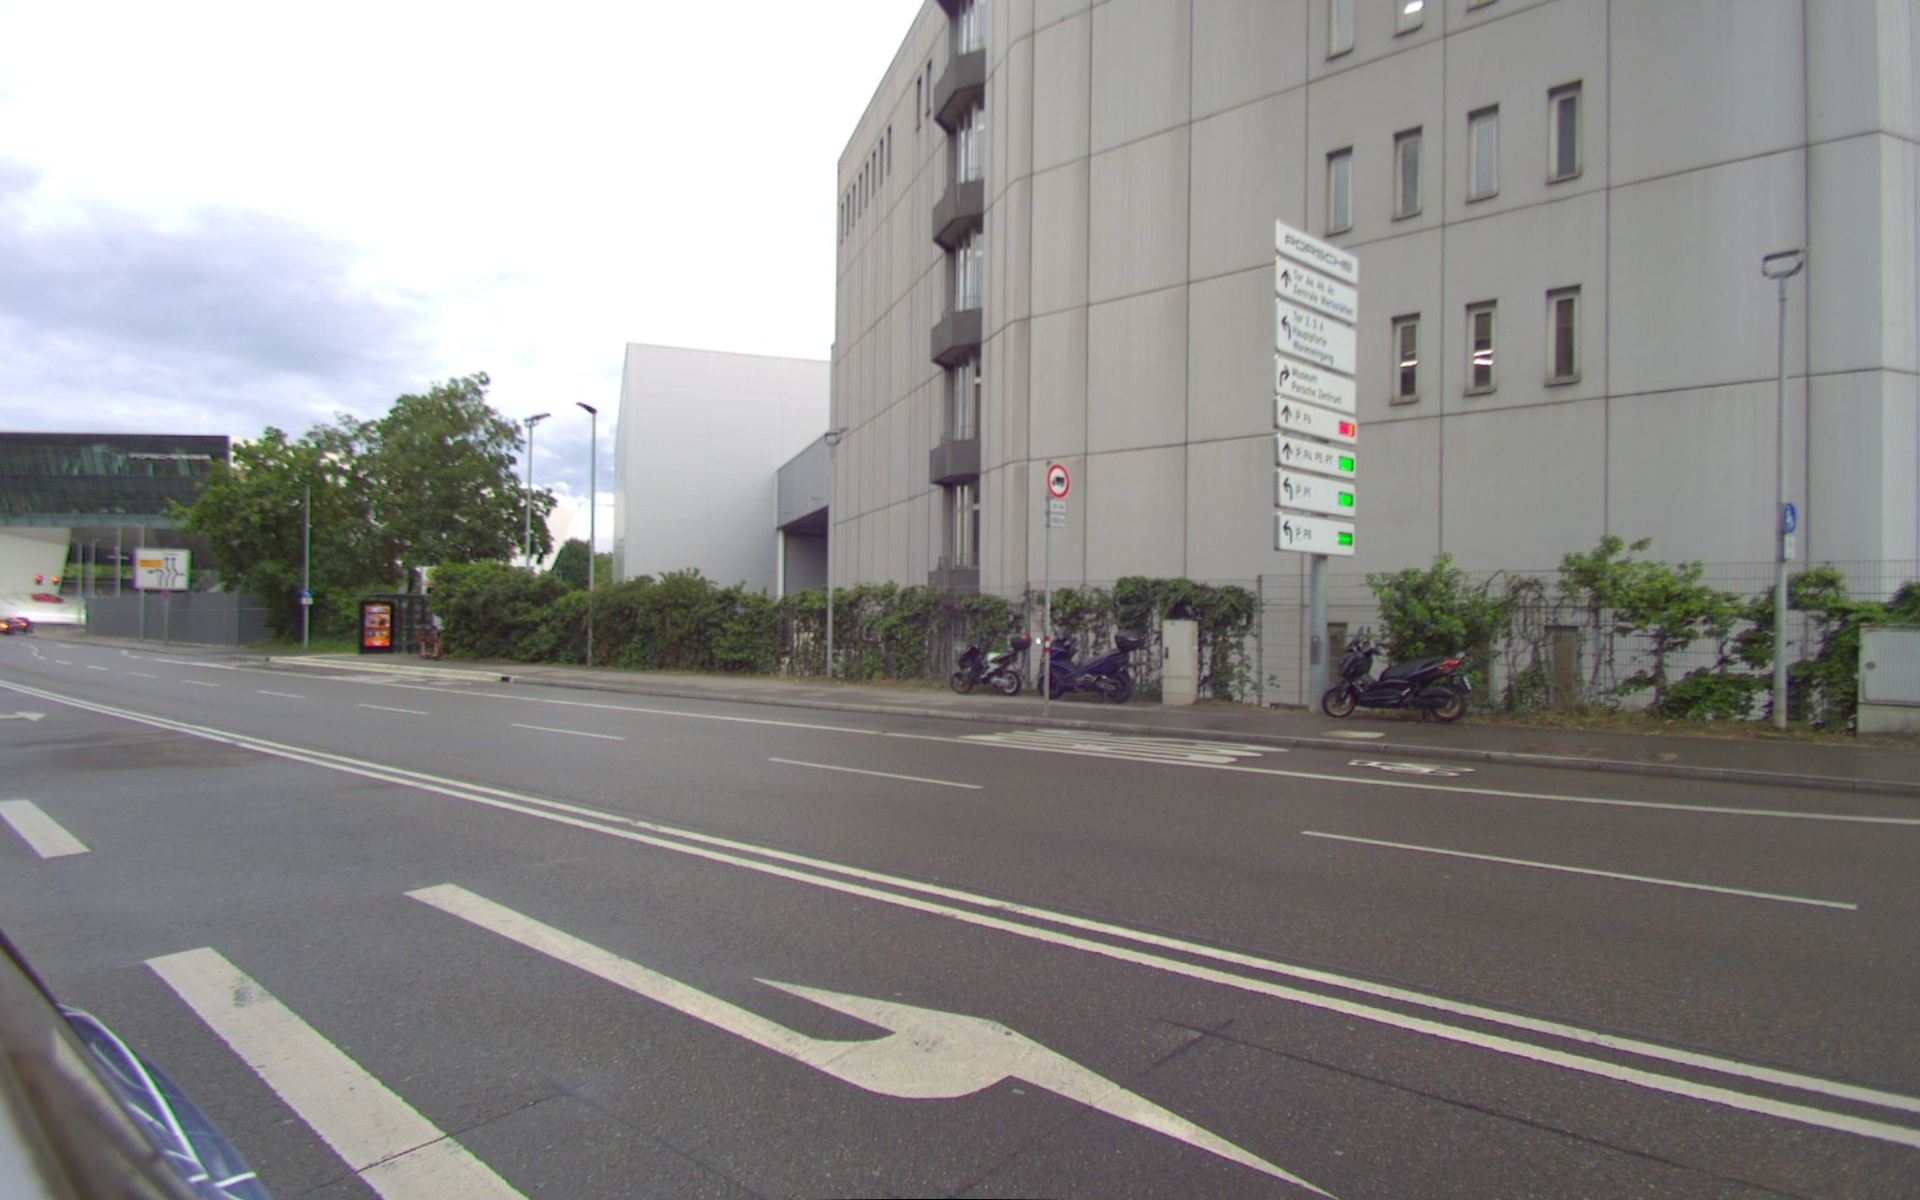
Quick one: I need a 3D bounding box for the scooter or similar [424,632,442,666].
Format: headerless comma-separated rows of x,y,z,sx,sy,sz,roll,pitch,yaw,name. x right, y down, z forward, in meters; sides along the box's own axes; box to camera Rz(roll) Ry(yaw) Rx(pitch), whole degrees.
-19.122,1.782,36.737,0.373,1.190,1.380,1,-2,-36,scooter or similar

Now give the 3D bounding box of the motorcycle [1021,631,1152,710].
2.303,1.254,18.642,2.368,1.358,0.776,-1,-2,40,motorcycle

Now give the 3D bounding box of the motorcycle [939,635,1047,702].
0.645,1.345,20.424,2.156,1.260,0.776,-1,-2,40,motorcycle

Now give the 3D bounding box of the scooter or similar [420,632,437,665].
-19.922,1.799,37.914,0.383,1.189,1.253,1,-2,-36,scooter or similar

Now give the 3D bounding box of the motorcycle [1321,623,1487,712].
6.655,0.971,15.247,2.156,1.257,0.776,-1,-2,40,motorcycle

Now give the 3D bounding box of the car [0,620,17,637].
-84.738,2.505,88.708,2.233,1.488,4.059,1,-1,-32,car

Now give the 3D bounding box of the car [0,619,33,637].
-88.539,2.633,94.733,1.834,1.663,3.799,1,-2,-30,car
